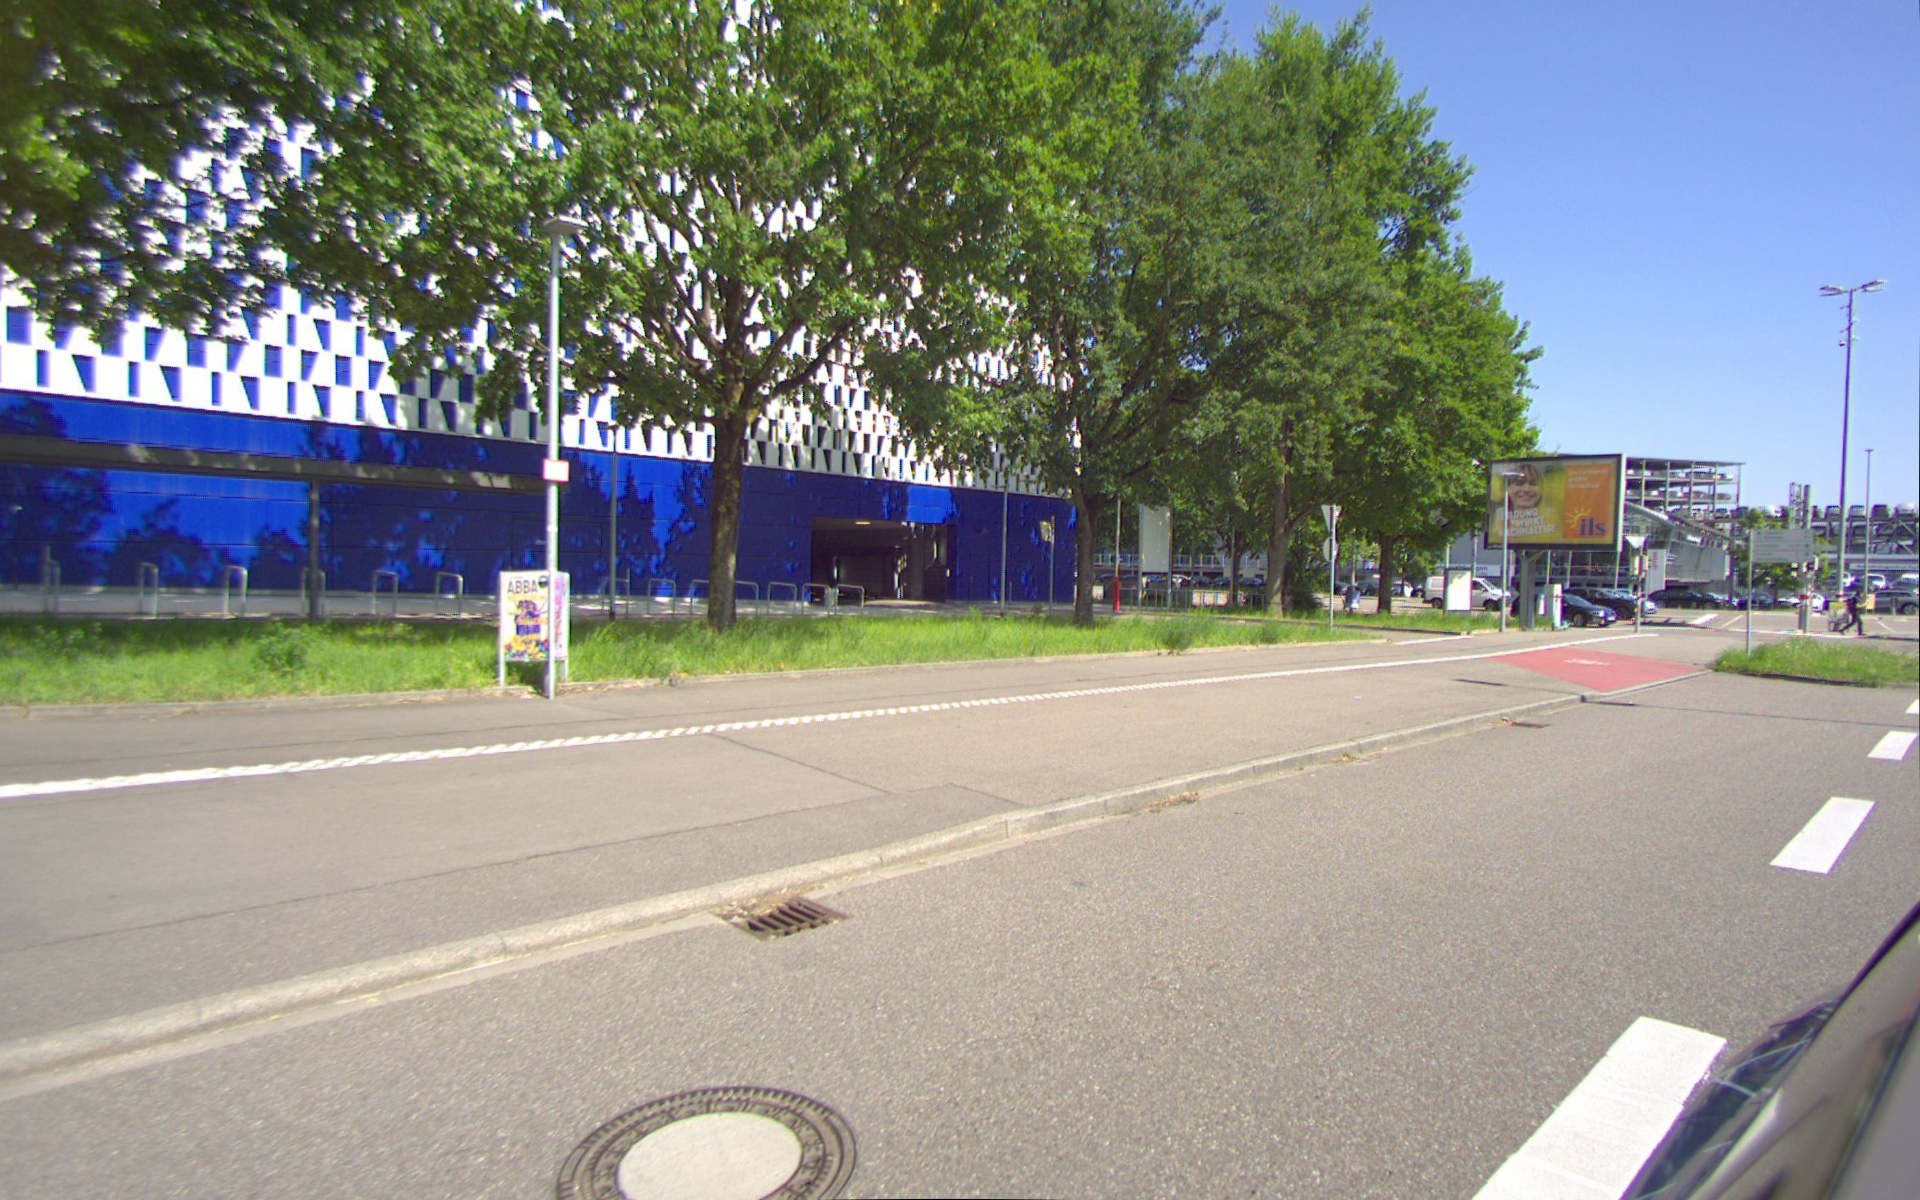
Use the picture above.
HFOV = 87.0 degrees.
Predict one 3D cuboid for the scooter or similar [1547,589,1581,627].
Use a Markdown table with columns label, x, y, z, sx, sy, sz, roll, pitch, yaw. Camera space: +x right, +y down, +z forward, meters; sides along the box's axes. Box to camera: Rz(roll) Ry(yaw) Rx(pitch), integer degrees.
| label | x | y | z | sx | sy | sz | roll | pitch | yaw |
| --- | --- | --- | --- | --- | --- | --- | --- | --- | --- |
| scooter or similar | 19.651 | 0.248 | 32.918 | 1.160 | 1.181 | 0.403 | -1 | 2 | -29 |

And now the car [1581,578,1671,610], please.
| label | x | y | z | sx | sy | sz | roll | pitch | yaw |
| --- | --- | --- | --- | --- | --- | --- | --- | --- | --- |
| car | 36.593 | -0.360 | 55.666 | 1.729 | 1.632 | 3.827 | -1 | 3 | -40 |

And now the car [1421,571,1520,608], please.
| label | x | y | z | sx | sy | sz | roll | pitch | yaw |
| --- | --- | --- | --- | --- | --- | --- | --- | --- | --- |
| car | 30.609 | -0.687 | 60.802 | 4.983 | 2.032 | 1.714 | 3 | 4 | 43 |

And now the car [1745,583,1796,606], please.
| label | x | y | z | sx | sy | sz | roll | pitch | yaw |
| --- | --- | --- | --- | --- | --- | --- | --- | --- | --- |
| car | 54.774 | -0.360 | 68.382 | 3.930 | 1.479 | 1.997 | 0 | 2 | -41 |

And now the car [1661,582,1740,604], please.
| label | x | y | z | sx | sy | sz | roll | pitch | yaw |
| --- | --- | --- | --- | --- | --- | --- | --- | --- | --- |
| car | 52.365 | -0.528 | 71.606 | 4.337 | 1.366 | 1.793 | 3 | 2 | 43 |

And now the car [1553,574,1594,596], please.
| label | x | y | z | sx | sy | sz | roll | pitch | yaw |
| --- | --- | --- | --- | --- | --- | --- | --- | --- | --- |
| car | 44.854 | -1.123 | 73.977 | 1.881 | 1.565 | 3.831 | 3 | 3 | 41 |

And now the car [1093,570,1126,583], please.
| label | x | y | z | sx | sy | sz | roll | pitch | yaw |
| --- | --- | --- | --- | --- | --- | --- | --- | --- | --- |
| car | 15.602 | -2.421 | 105.343 | 3.358 | 1.264 | 1.593 | 0 | 2 | -42 |

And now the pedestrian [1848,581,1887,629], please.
| label | x | y | z | sx | sy | sz | roll | pitch | yaw |
| --- | --- | --- | --- | --- | --- | --- | --- | --- | --- |
| pedestrian | 35.362 | 0.187 | 39.447 | 0.939 | 1.801 | 0.708 | 1 | 2 | -21 |

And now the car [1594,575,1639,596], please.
| label | x | y | z | sx | sy | sz | roll | pitch | yaw |
| --- | --- | --- | --- | --- | --- | --- | --- | --- | --- |
| car | 46.786 | -1.046 | 72.099 | 1.999 | 1.439 | 4.049 | 3 | 2 | 44 |

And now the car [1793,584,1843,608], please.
| label | x | y | z | sx | sy | sz | roll | pitch | yaw |
| --- | --- | --- | --- | --- | --- | --- | --- | --- | --- |
| car | 56.622 | -0.295 | 66.774 | 3.931 | 1.478 | 1.886 | -2 | 3 | -41 |

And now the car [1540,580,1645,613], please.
| label | x | y | z | sx | sy | sz | roll | pitch | yaw |
| --- | --- | --- | --- | --- | --- | --- | --- | --- | --- |
| car | 33.288 | -0.211 | 53.318 | 4.488 | 1.647 | 1.689 | 1 | 3 | 43 |

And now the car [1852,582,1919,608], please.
| label | x | y | z | sx | sy | sz | roll | pitch | yaw |
| --- | --- | --- | --- | --- | --- | --- | --- | --- | --- |
| car | 62.536 | -0.326 | 67.473 | 1.947 | 1.607 | 4.471 | 0 | 2 | -44 |

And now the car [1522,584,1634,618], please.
| label | x | y | z | sx | sy | sz | roll | pitch | yaw |
| --- | --- | --- | --- | --- | --- | --- | --- | --- | --- |
| car | 28.701 | 0.007 | 47.116 | 1.735 | 1.482 | 4.248 | -2 | 2 | -22 |
